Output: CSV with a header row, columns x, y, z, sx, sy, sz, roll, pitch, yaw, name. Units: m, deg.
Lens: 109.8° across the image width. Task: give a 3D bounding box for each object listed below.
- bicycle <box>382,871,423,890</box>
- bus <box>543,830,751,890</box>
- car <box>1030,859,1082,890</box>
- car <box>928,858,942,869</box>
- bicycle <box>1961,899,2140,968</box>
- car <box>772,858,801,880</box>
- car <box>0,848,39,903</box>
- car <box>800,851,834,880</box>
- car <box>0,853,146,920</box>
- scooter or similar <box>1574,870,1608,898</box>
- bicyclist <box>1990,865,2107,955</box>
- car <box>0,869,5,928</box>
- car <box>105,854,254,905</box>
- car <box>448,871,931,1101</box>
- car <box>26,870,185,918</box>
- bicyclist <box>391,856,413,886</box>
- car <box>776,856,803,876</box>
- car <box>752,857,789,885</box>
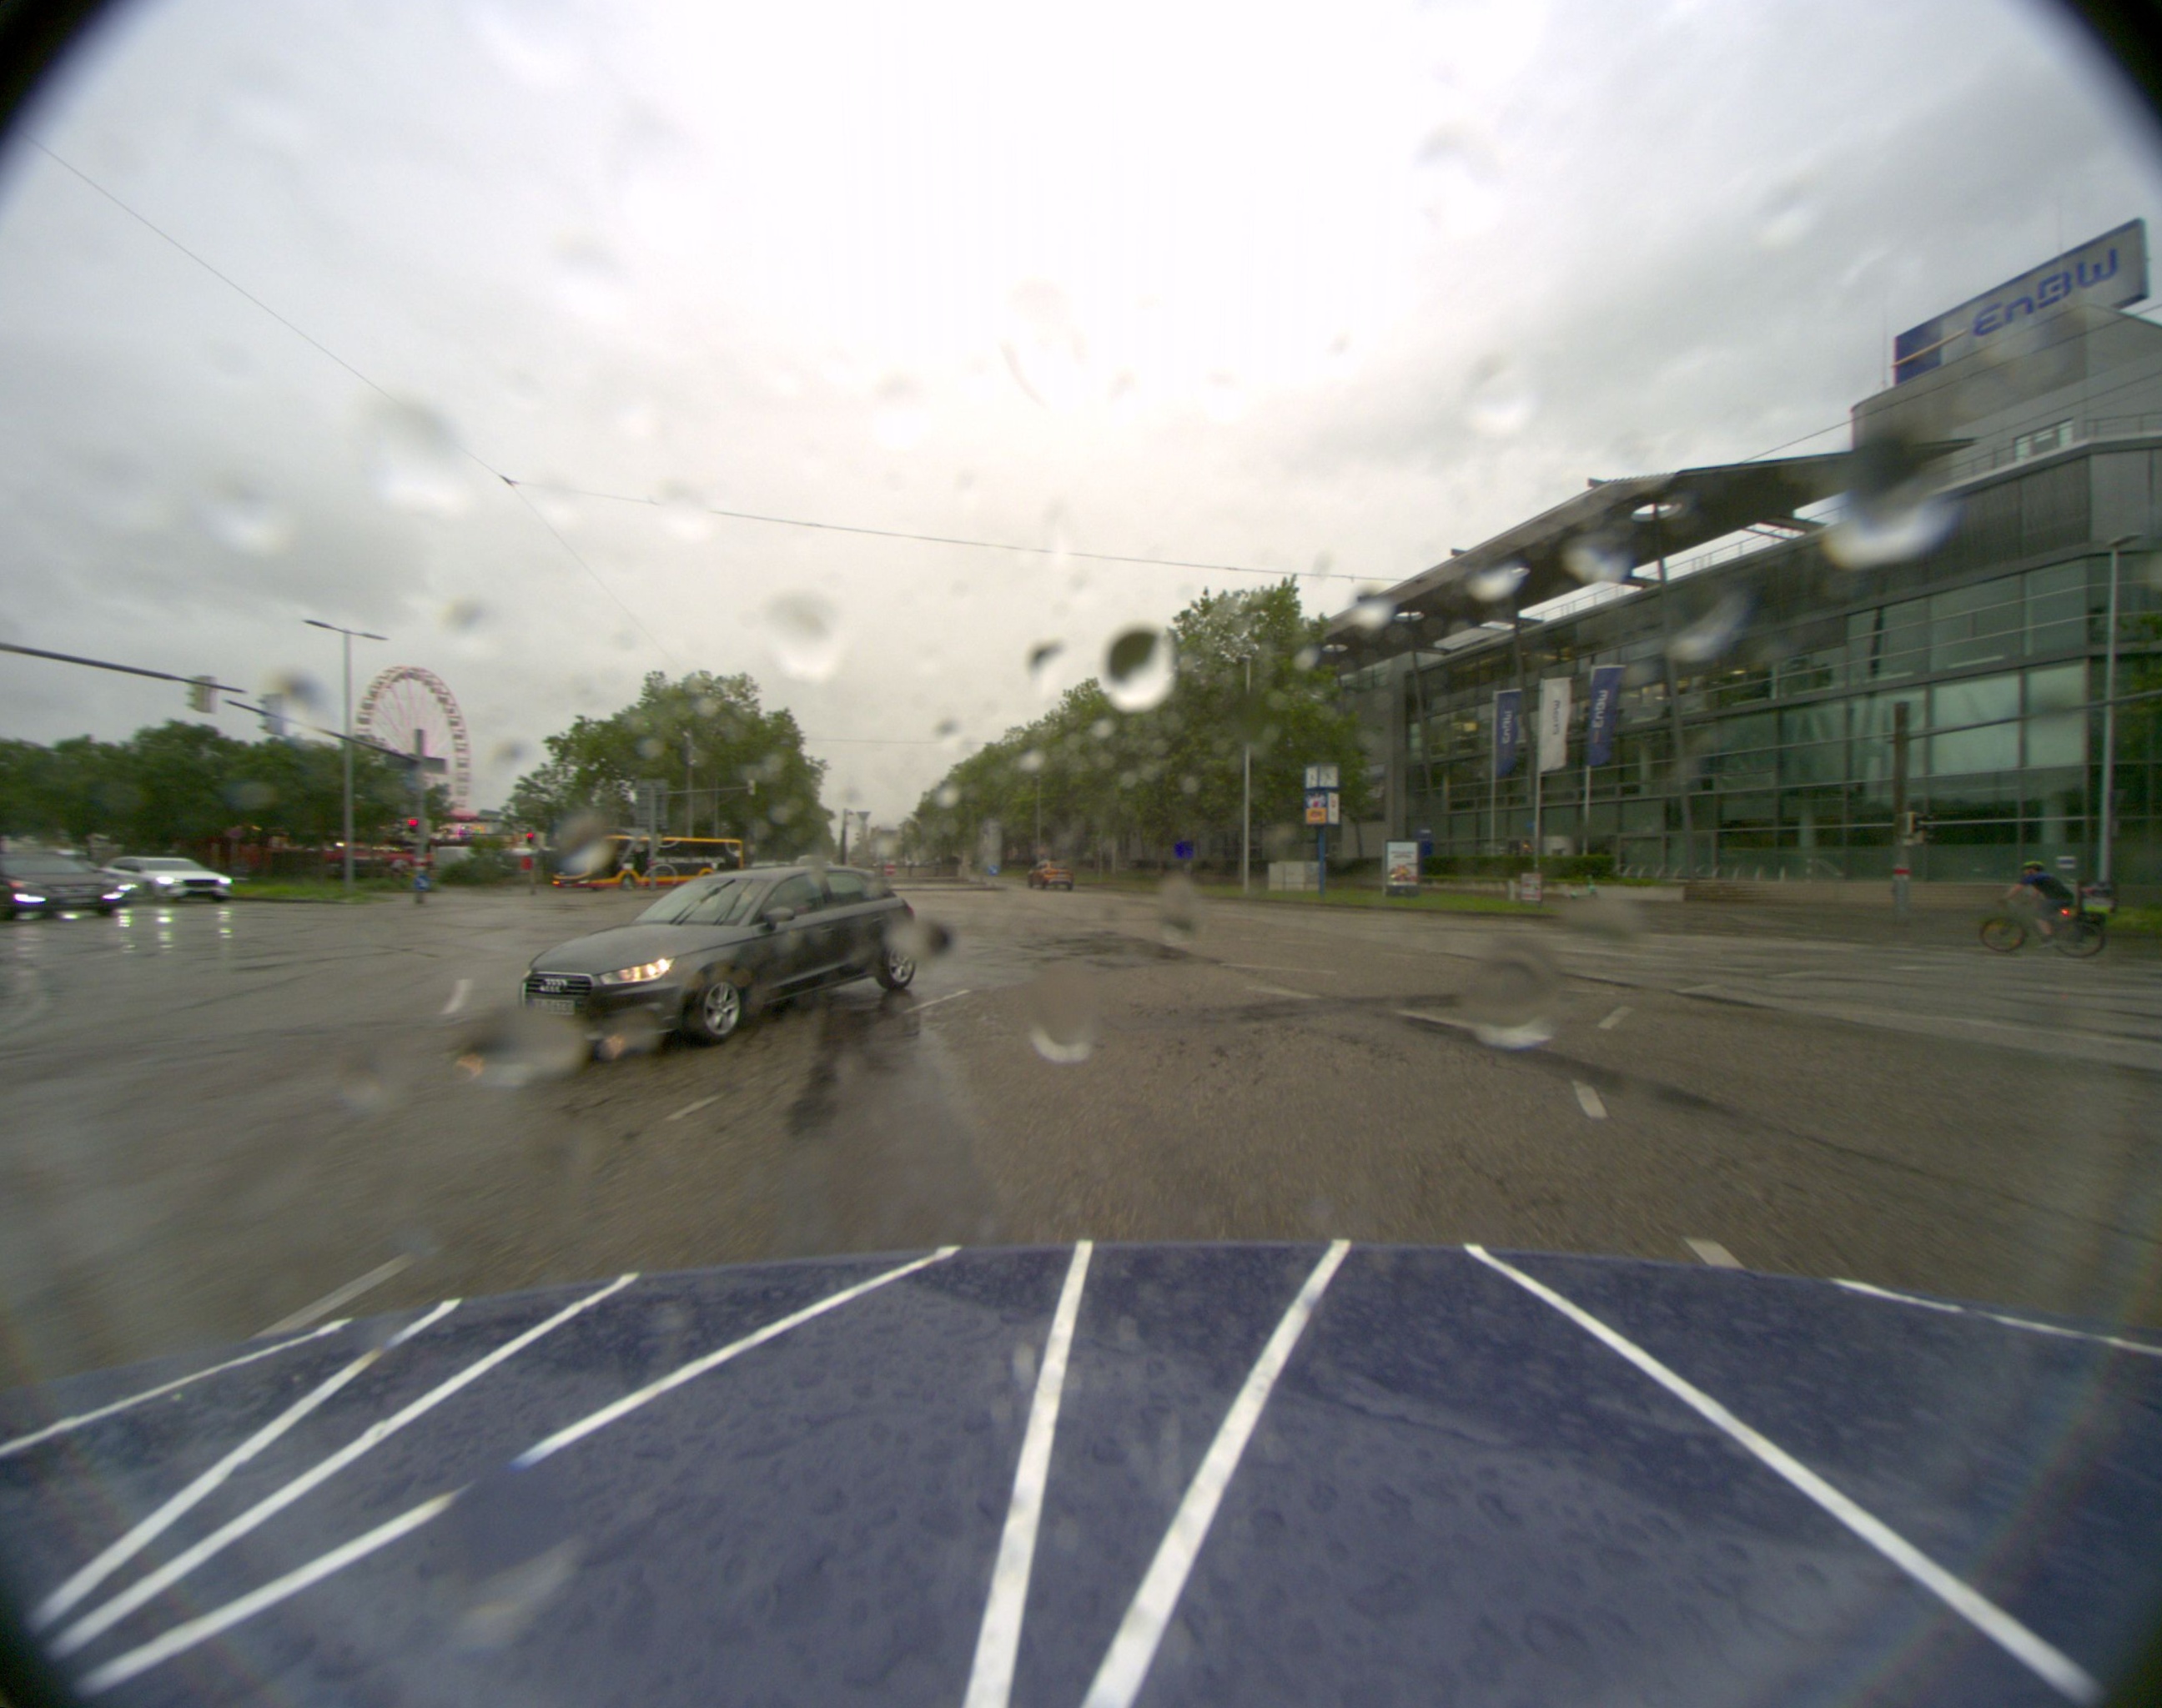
x,y,z,sx,sy,sz,roll,pitch,yaw,name
-42.590,1.637,47.690,2.255,1.158,0.822,0,0,14,bicycle
-26.702,0.325,47.986,3.267,3.249,12.307,0,0,19,bus
-1.495,1.136,43.798,1.908,1.622,4.163,0,0,-19,car
-22.347,1.421,116.315,1.843,1.543,3.994,0,0,-16,car
17.651,1.411,13.916,0.695,1.088,1.911,1,-1,-12,bicycle
-24.904,1.232,64.210,1.894,1.744,3.991,0,0,-27,car
-33.385,0.618,22.539,3.991,1.600,1.865,1,0,20,car
-17.764,0.717,51.285,2.080,1.838,4.738,0,0,-18,car
-27.767,0.805,20.506,4.051,1.647,2.032,1,0,21,car
21.191,1.233,31.561,0.341,1.132,1.173,0,1,-21,scooter or similar
17.657,0.996,13.891,0.805,1.583,1.046,0,-1,-11,bicyclist
-26.911,0.992,17.095,3.992,1.341,1.901,1,0,16,car
-33.278,0.891,28.080,4.293,1.710,2.180,1,0,20,car
-3.331,0.968,7.311,1.838,1.390,3.759,-1,2,24,car
-31.306,1.239,24.412,3.991,1.350,1.835,1,0,17,car
-42.620,1.044,47.688,0.621,1.871,0.771,0,1,15,bicyclist
-27.613,1.129,71.847,2.081,1.838,4.736,0,0,-24,car
-19.859,1.044,48.773,1.935,1.641,4.335,0,0,-19,car
